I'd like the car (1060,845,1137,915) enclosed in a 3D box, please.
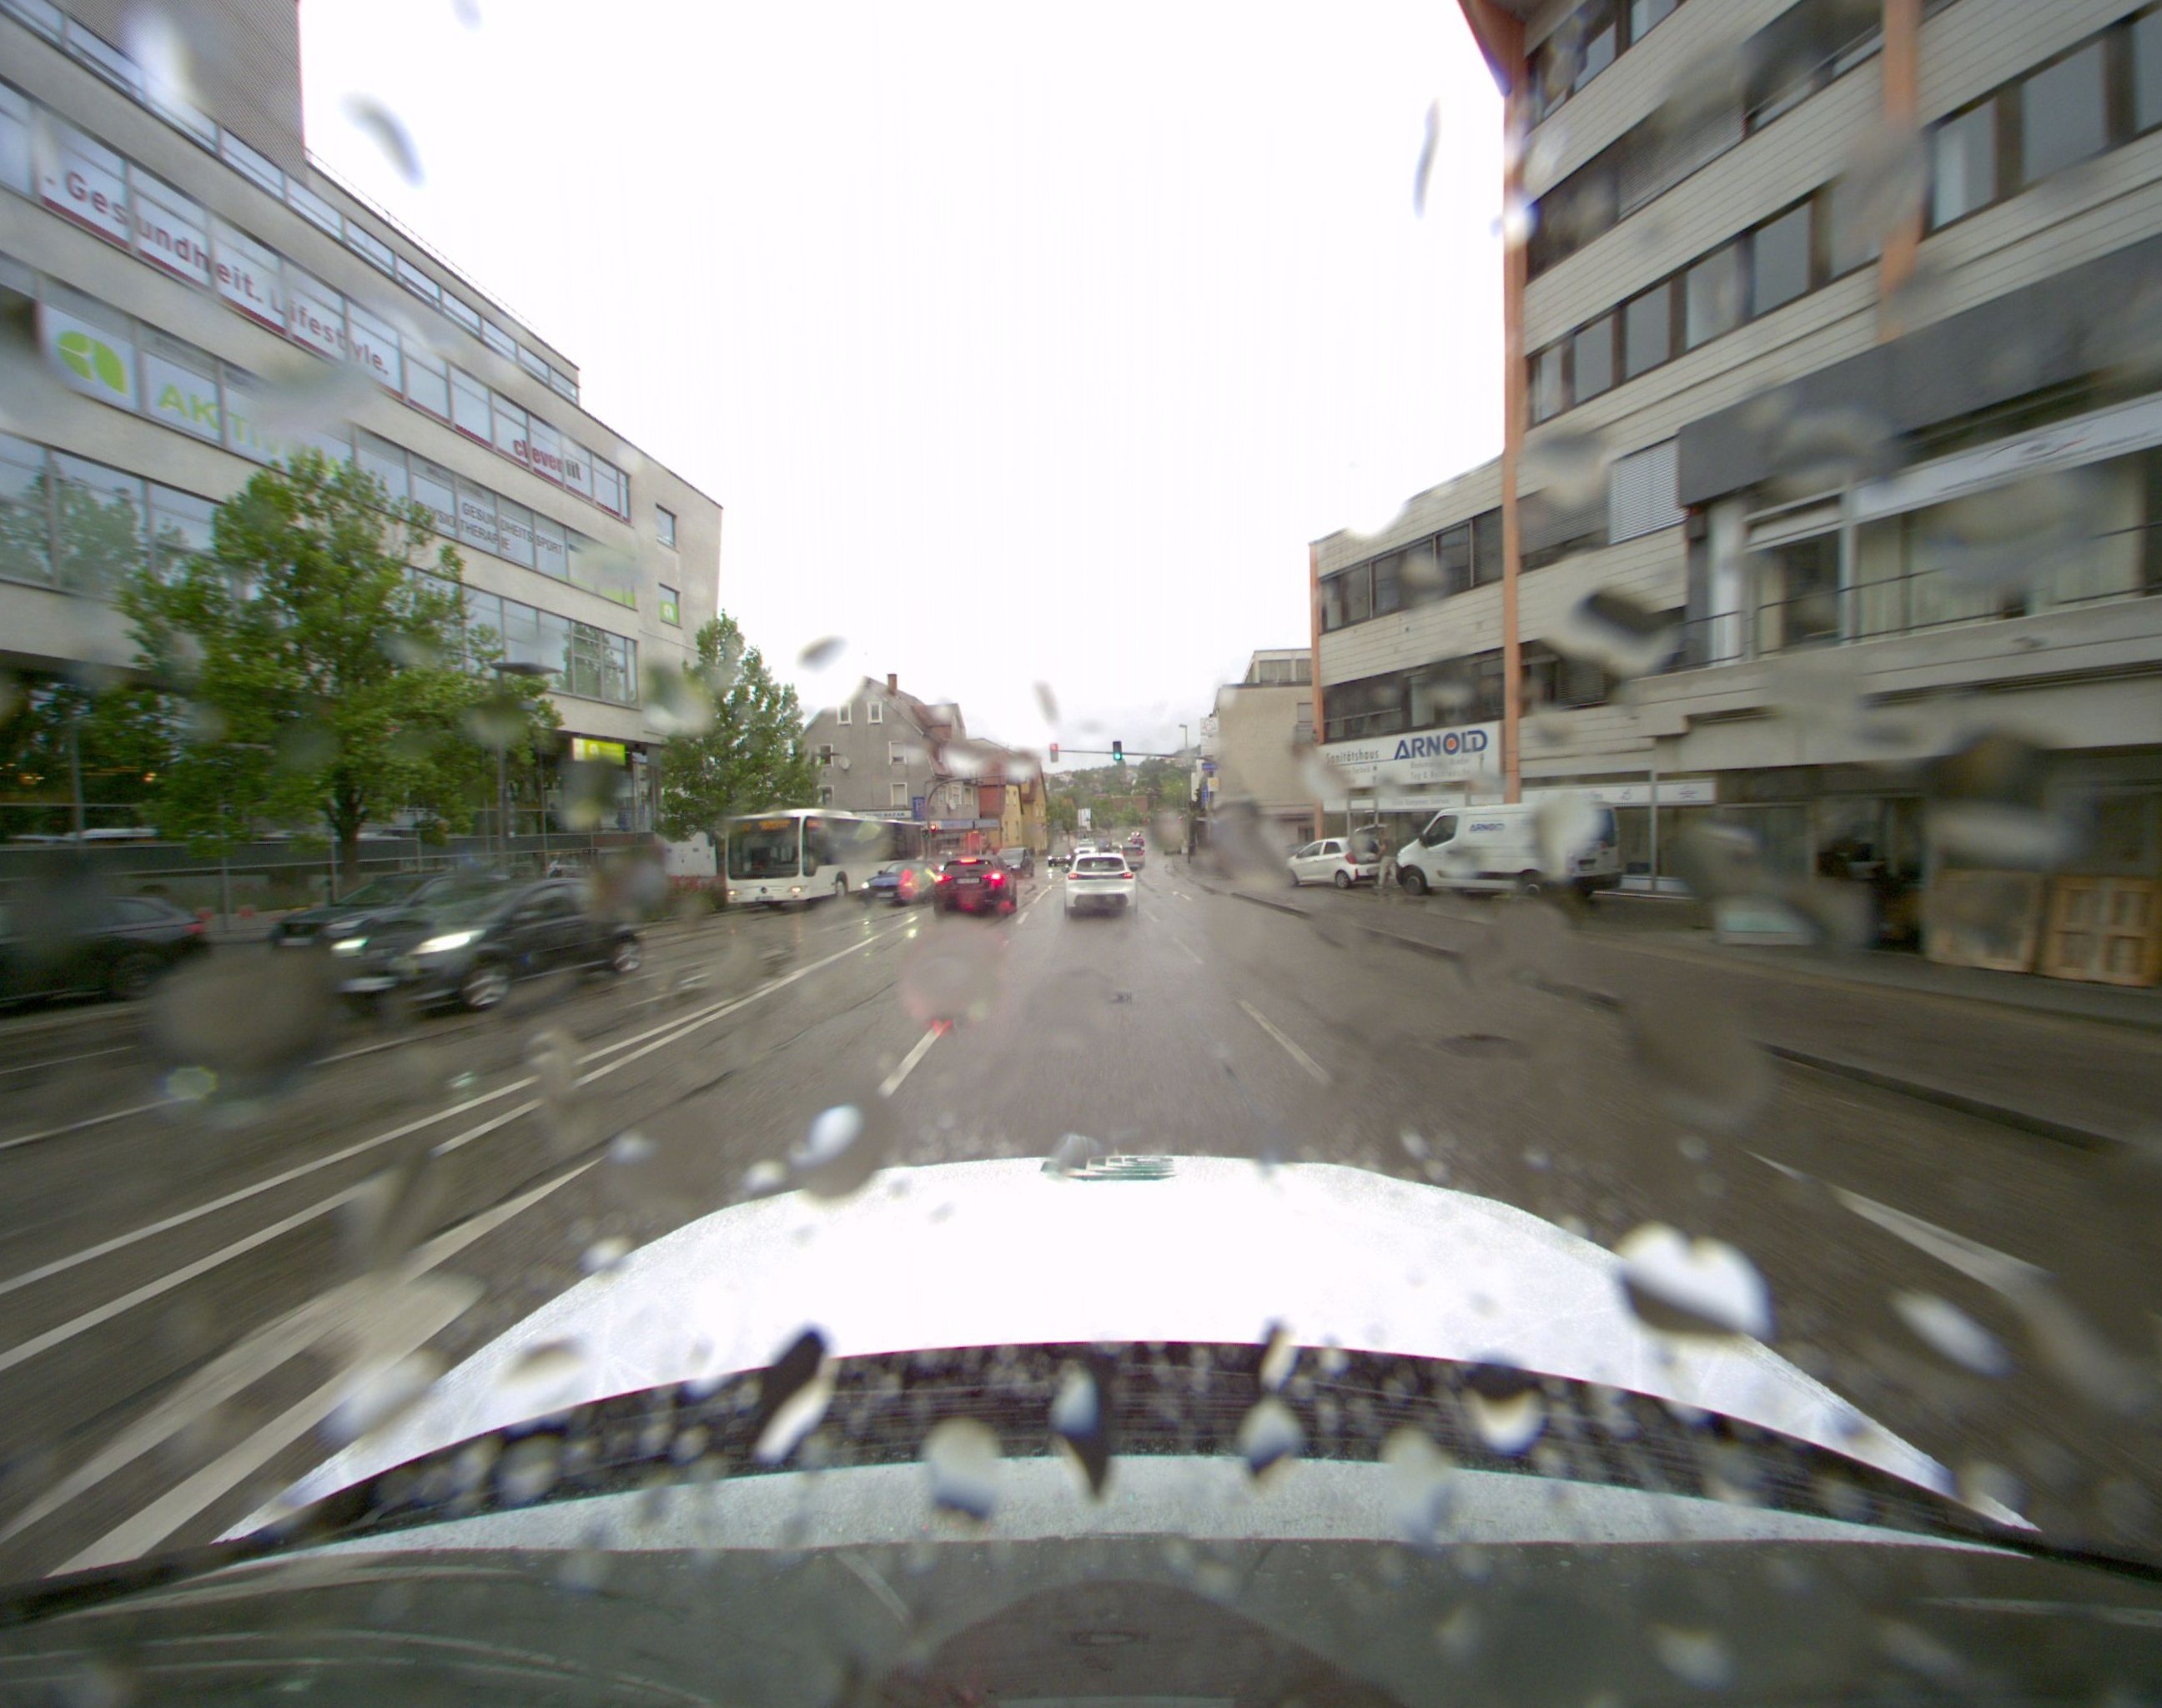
[{"bbox_3d":[0.491,0.568,20.190,1.684,1.519,3.936,-2,0,3],"label":"car"}]

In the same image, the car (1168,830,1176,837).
[{"bbox_3d":[21.798,-4.848,195.223,1.639,1.485,3.372,-2,0,6],"label":"car"}]

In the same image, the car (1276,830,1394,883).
[{"bbox_3d":[7.697,0.091,24.976,1.618,1.462,3.397,-2,0,-23],"label":"car"}]

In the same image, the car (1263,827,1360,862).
[{"bbox_3d":[10.935,-0.449,38.582,4.410,1.411,1.721,-4,2,-27],"label":"car"}]

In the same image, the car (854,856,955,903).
[{"bbox_3d":[-5.400,0.738,25.502,1.887,1.256,4.200,-2,0,5],"label":"car"}]

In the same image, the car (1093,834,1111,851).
[{"bbox_3d":[2.561,-1.420,99.074,1.957,1.938,5.185,-2,0,4],"label":"car"}]

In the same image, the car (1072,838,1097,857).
[{"bbox_3d":[0.345,-0.617,80.882,2.089,1.712,4.854,-2,0,4],"label":"car"}]

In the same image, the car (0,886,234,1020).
[{"bbox_3d":[-13.563,1.253,9.806,1.818,1.447,4.480,-2,0,4],"label":"car"}]

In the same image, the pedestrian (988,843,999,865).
[{"bbox_3d":[-5.601,0.016,51.957,0.576,1.394,0.561,-2,0,3],"label":"pedestrian"}]

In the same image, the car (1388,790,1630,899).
[{"bbox_3d":[10.075,-0.328,19.590,2.014,2.208,4.829,-5,5,-30],"label":"car"}]

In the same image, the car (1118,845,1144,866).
[{"bbox_3d":[3.468,0.068,56.579,1.734,1.295,3.337,-2,1,3],"label":"car"}]

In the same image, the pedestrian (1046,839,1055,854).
[{"bbox_3d":[-3.638,-0.893,96.514,0.795,1.788,0.885,-2,0,14],"label":"pedestrian"}]

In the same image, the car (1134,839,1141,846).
[{"bbox_3d":[9.157,-1.871,131.871,1.207,1.156,2.273,-2,0,4],"label":"car"}]

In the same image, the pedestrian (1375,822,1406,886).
[{"bbox_3d":[8.781,-0.014,23.133,0.591,1.766,0.600,-2,2,-2],"label":"pedestrian"}]

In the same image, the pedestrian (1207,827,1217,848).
[{"bbox_3d":[11.137,-1.384,69.007,0.724,1.780,0.956,-1,2,14],"label":"pedestrian"}]

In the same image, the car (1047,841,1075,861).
[{"bbox_3d":[-1.512,-0.242,63.242,1.750,1.434,4.385,-2,0,4],"label":"car"}]

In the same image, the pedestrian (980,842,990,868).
[{"bbox_3d":[-7.290,0.064,61.601,0.659,1.921,0.946,0,0,-2],"label":"pedestrian"}]

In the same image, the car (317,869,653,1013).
[{"bbox_3d":[-7.206,0.961,10.289,1.557,1.375,3.287,-3,0,5],"label":"car"}]

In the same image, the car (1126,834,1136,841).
[{"bbox_3d":[10.617,-3.514,172.898,1.759,1.413,4.533,-2,0,5],"label":"car"}]

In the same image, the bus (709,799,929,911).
[{"bbox_3d":[-8.670,-0.015,29.403,2.878,3.099,12.019,-2,0,6],"label":"bus"}]

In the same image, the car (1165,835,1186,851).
[{"bbox_3d":[10.458,-1.173,90.233,2.002,1.622,4.365,-1,-1,4],"label":"car"}]

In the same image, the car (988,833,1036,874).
[{"bbox_3d":[-3.609,-0.048,43.503,1.625,2.013,4.293,-2,0,7],"label":"car"}]

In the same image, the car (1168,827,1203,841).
[{"bbox_3d":[18.659,-3.547,144.864,6.662,2.382,2.270,-3,0,-43],"label":"car"}]

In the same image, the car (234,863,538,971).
[{"bbox_3d":[-12.516,1.041,15.100,1.985,1.596,4.004,-2,0,4],"label":"car"}]

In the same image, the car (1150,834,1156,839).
[{"bbox_3d":[17.087,-4.100,192.460,1.378,1.126,2.615,-2,0,6],"label":"car"}]

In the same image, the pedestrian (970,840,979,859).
[{"bbox_3d":[-8.780,-0.382,67.042,0.540,1.557,0.447,-2,0,6],"label":"pedestrian"}]

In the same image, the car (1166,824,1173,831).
[{"bbox_3d":[26.404,-7.982,243.610,1.983,2.013,4.007,-2,0,6],"label":"car"}]

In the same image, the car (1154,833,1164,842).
[{"bbox_3d":[14.106,-2.920,146.677,1.726,1.387,3.359,-1,5,5],"label":"car"}]

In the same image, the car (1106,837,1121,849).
[{"bbox_3d":[4.881,-1.648,121.285,1.869,1.609,4.726,-2,0,6],"label":"car"}]

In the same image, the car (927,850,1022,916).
[{"bbox_3d":[-2.601,0.648,20.822,1.709,1.450,4.200,-2,0,2],"label":"car"}]
